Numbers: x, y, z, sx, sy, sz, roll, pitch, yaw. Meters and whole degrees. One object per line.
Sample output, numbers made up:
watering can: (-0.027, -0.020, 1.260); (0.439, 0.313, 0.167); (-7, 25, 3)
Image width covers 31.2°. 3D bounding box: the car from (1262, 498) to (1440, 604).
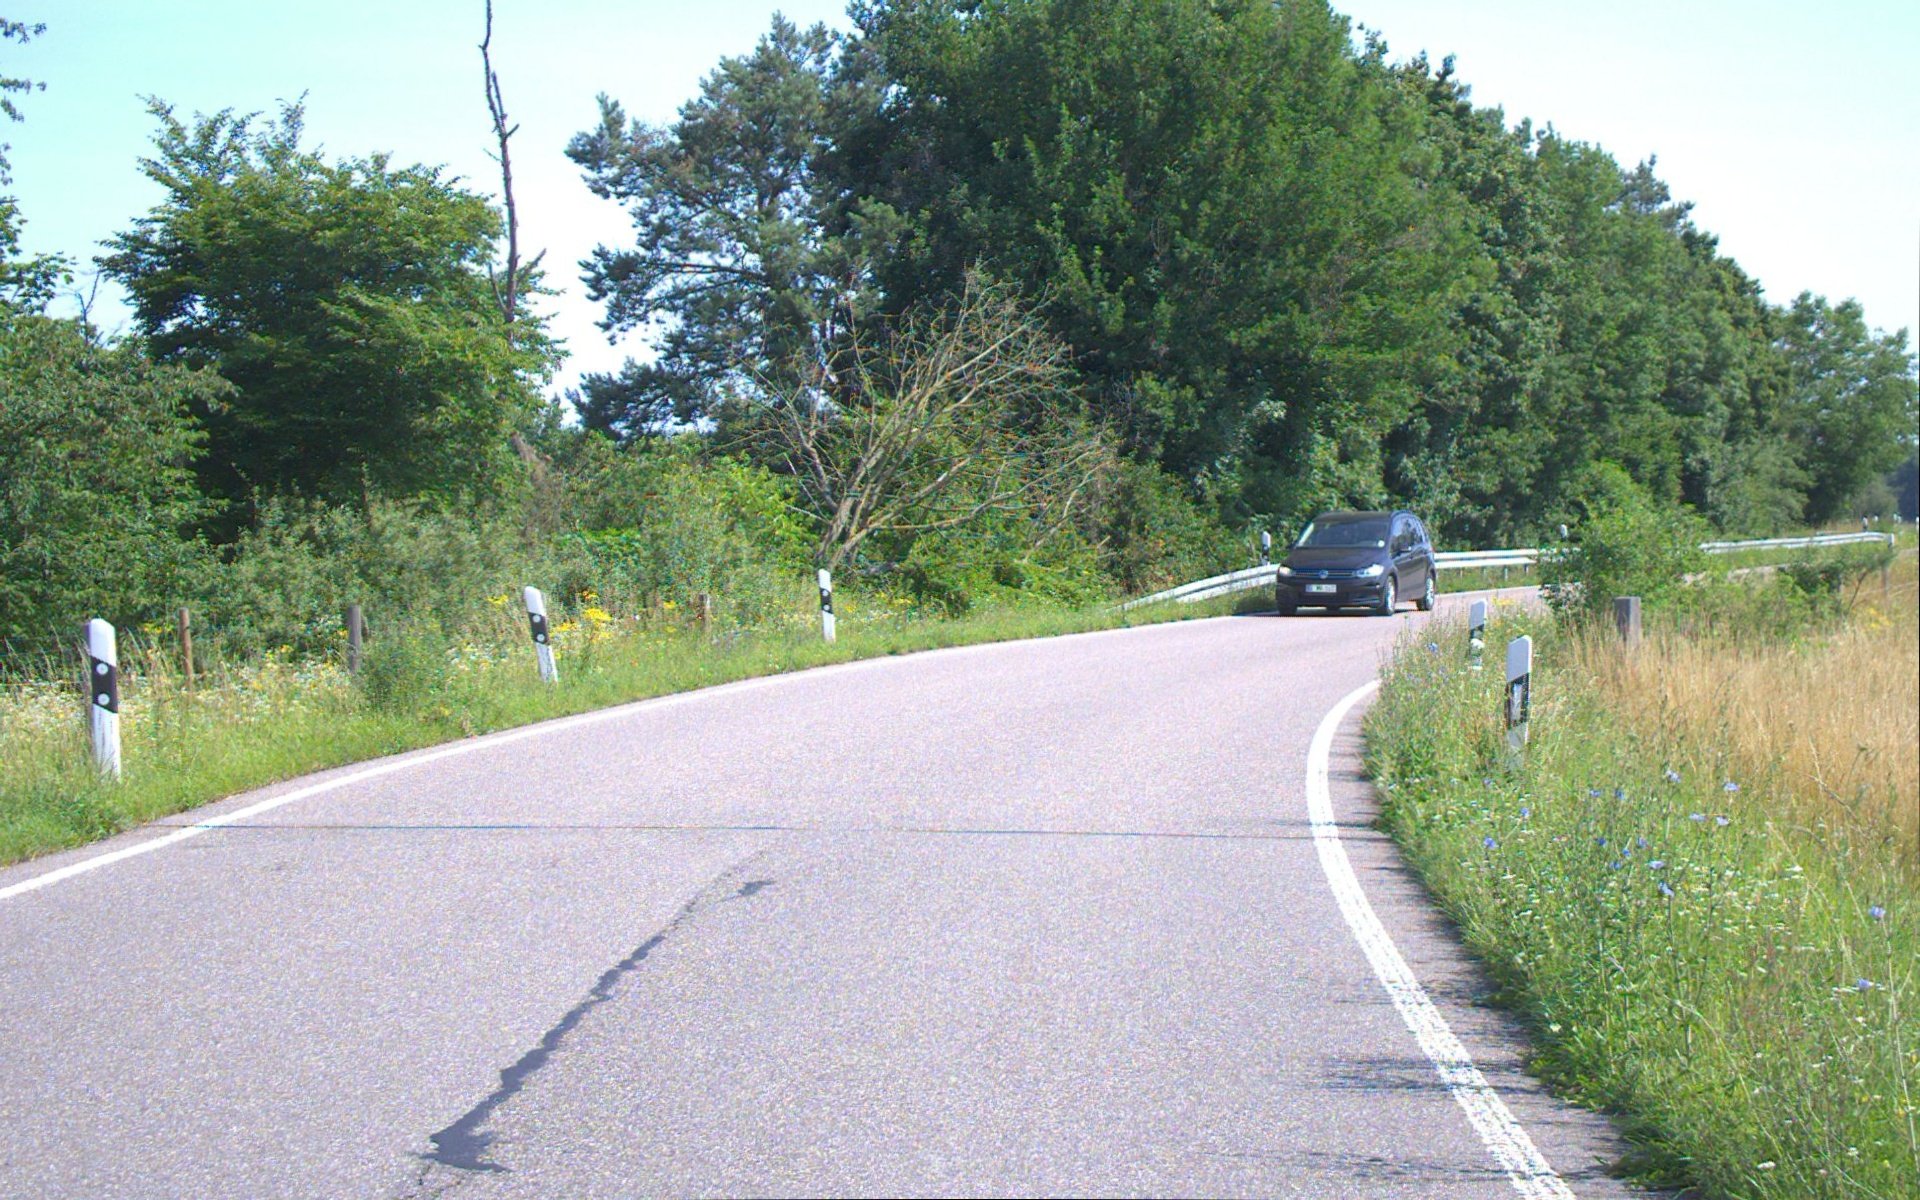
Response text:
car: (6.263, -0.762, 54.697); (1.786, 1.626, 4.156); (1, 0, 22)
